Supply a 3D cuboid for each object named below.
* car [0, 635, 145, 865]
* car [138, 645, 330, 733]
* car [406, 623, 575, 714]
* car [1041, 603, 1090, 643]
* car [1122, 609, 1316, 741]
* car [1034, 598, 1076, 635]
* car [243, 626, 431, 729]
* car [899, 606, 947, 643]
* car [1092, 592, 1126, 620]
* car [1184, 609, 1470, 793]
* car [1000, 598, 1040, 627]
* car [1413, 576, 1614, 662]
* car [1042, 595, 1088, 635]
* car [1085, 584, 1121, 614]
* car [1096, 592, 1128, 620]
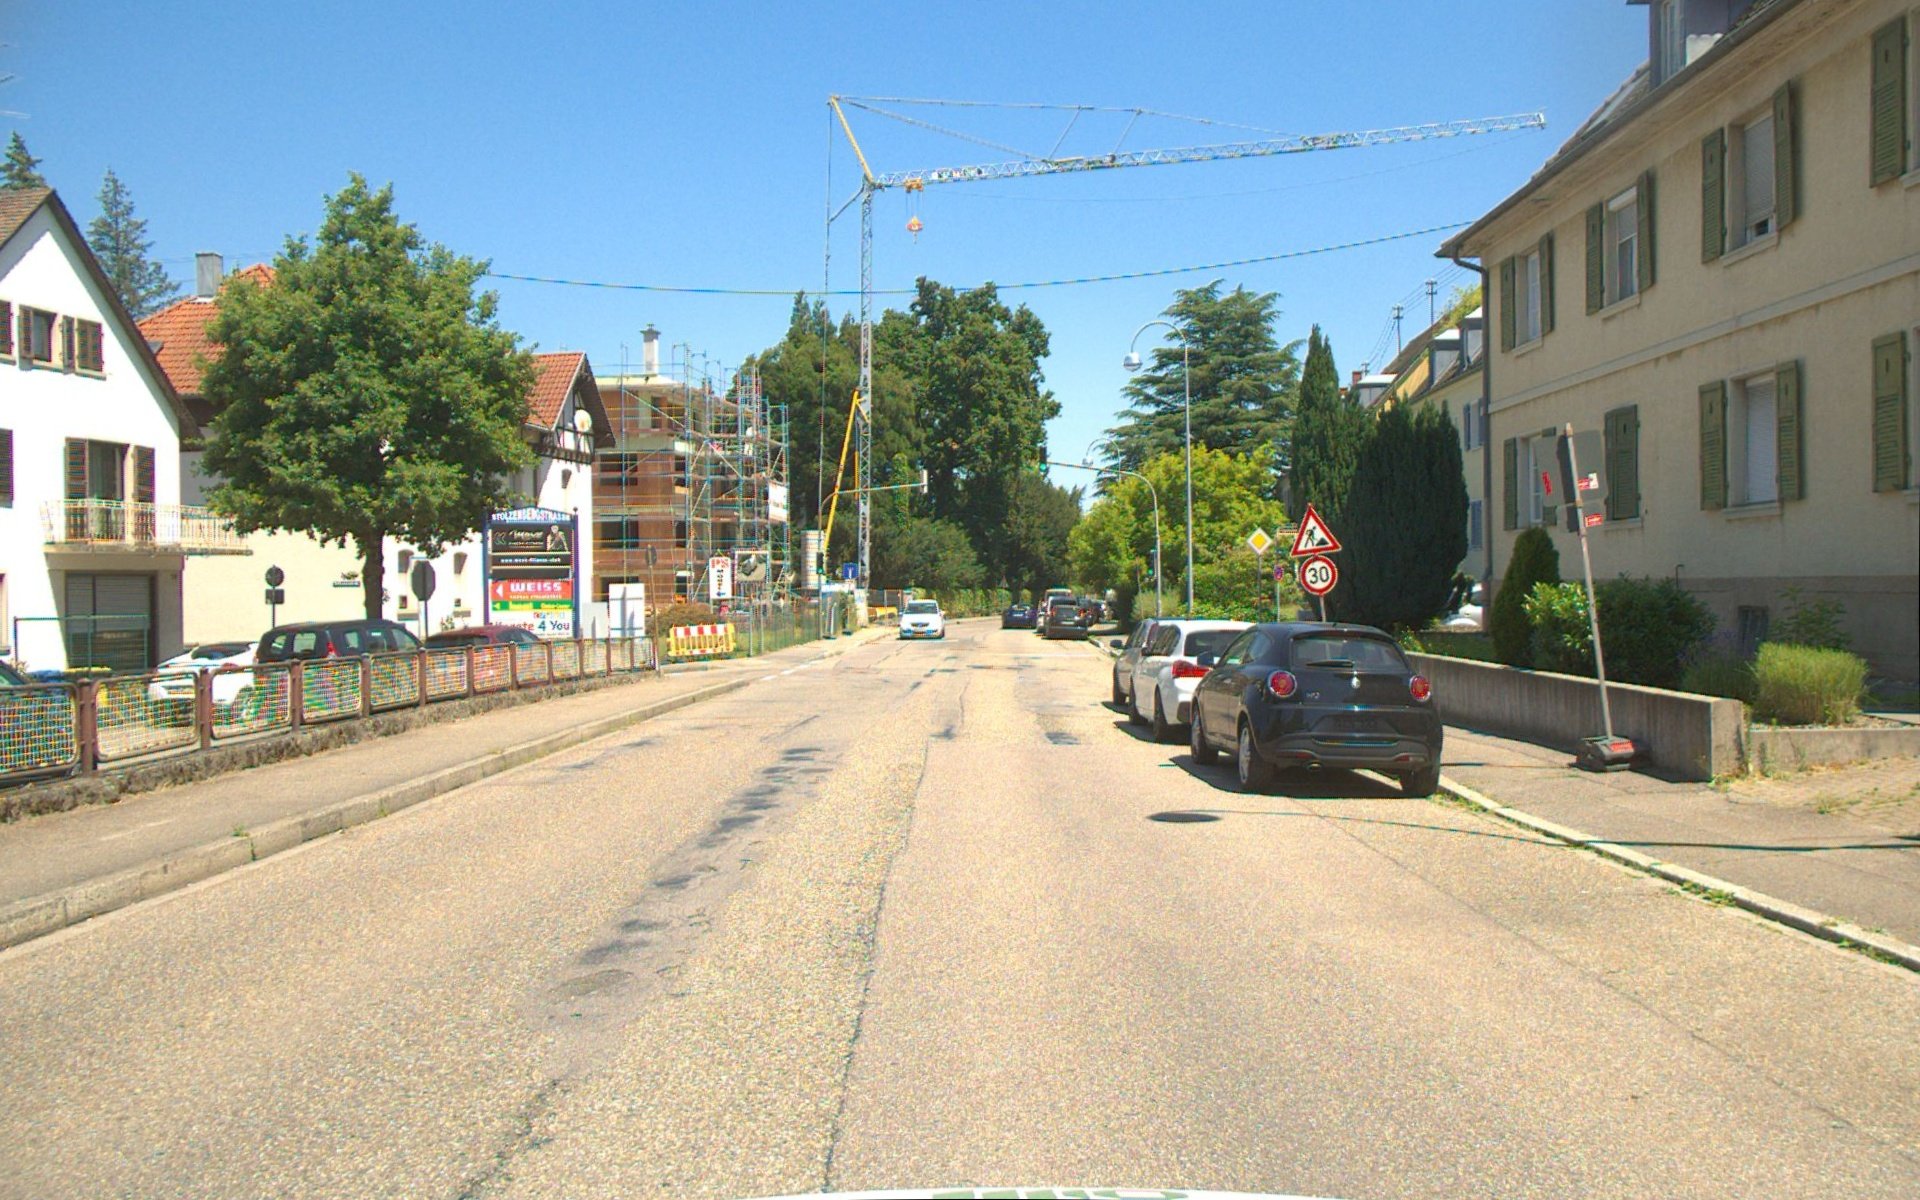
[{"bbox_3d":[-7.799,1.119,12.294,1.740,1.624,3.534,-1,0,-1],"label":"car"},{"bbox_3d":[-12.944,1.554,29.705,1.625,1.356,3.537,-2,0,5],"label":"car"},{"bbox_3d":[-8.029,1.135,28.581,1.625,1.413,3.537,-2,0,5],"label":"car"},{"bbox_3d":[4.452,0.957,69.905,1.952,1.601,4.002,-2,0,4],"label":"car"},{"bbox_3d":[3.151,0.869,20.847,1.725,1.477,3.888,0,0,-2],"label":"car"},{"bbox_3d":[4.602,0.767,79.992,1.952,1.691,4.002,-2,0,4],"label":"car"},{"bbox_3d":[-10.706,1.286,28.677,1.625,1.603,3.537,-2,0,5],"label":"car"},{"bbox_3d":[-1.518,1.021,69.784,1.724,1.477,3.841,-1,0,3],"label":"car"},{"bbox_3d":[9.251,0.367,102.263,1.951,1.691,4.003,-2,0,6],"label":"car"},{"bbox_3d":[3.280,0.839,15.523,1.725,1.477,3.838,0,0,-2],"label":"car"},{"bbox_3d":[3.289,0.674,90.054,1.917,1.494,4.003,-1,0,6],"label":"car"},{"bbox_3d":[12.642,0.441,37.972,3.905,1.668,2.000,-4,-1,2],"label":"car"},{"bbox_3d":[4.725,0.667,74.558,1.952,1.691,4.002,-2,0,4],"label":"car"},{"bbox_3d":[8.424,-0.054,97.402,1.951,1.691,4.003,-2,0,6],"label":"car"},{"bbox_3d":[9.868,0.390,107.181,1.951,1.691,4.003,-2,0,6],"label":"car"}]
